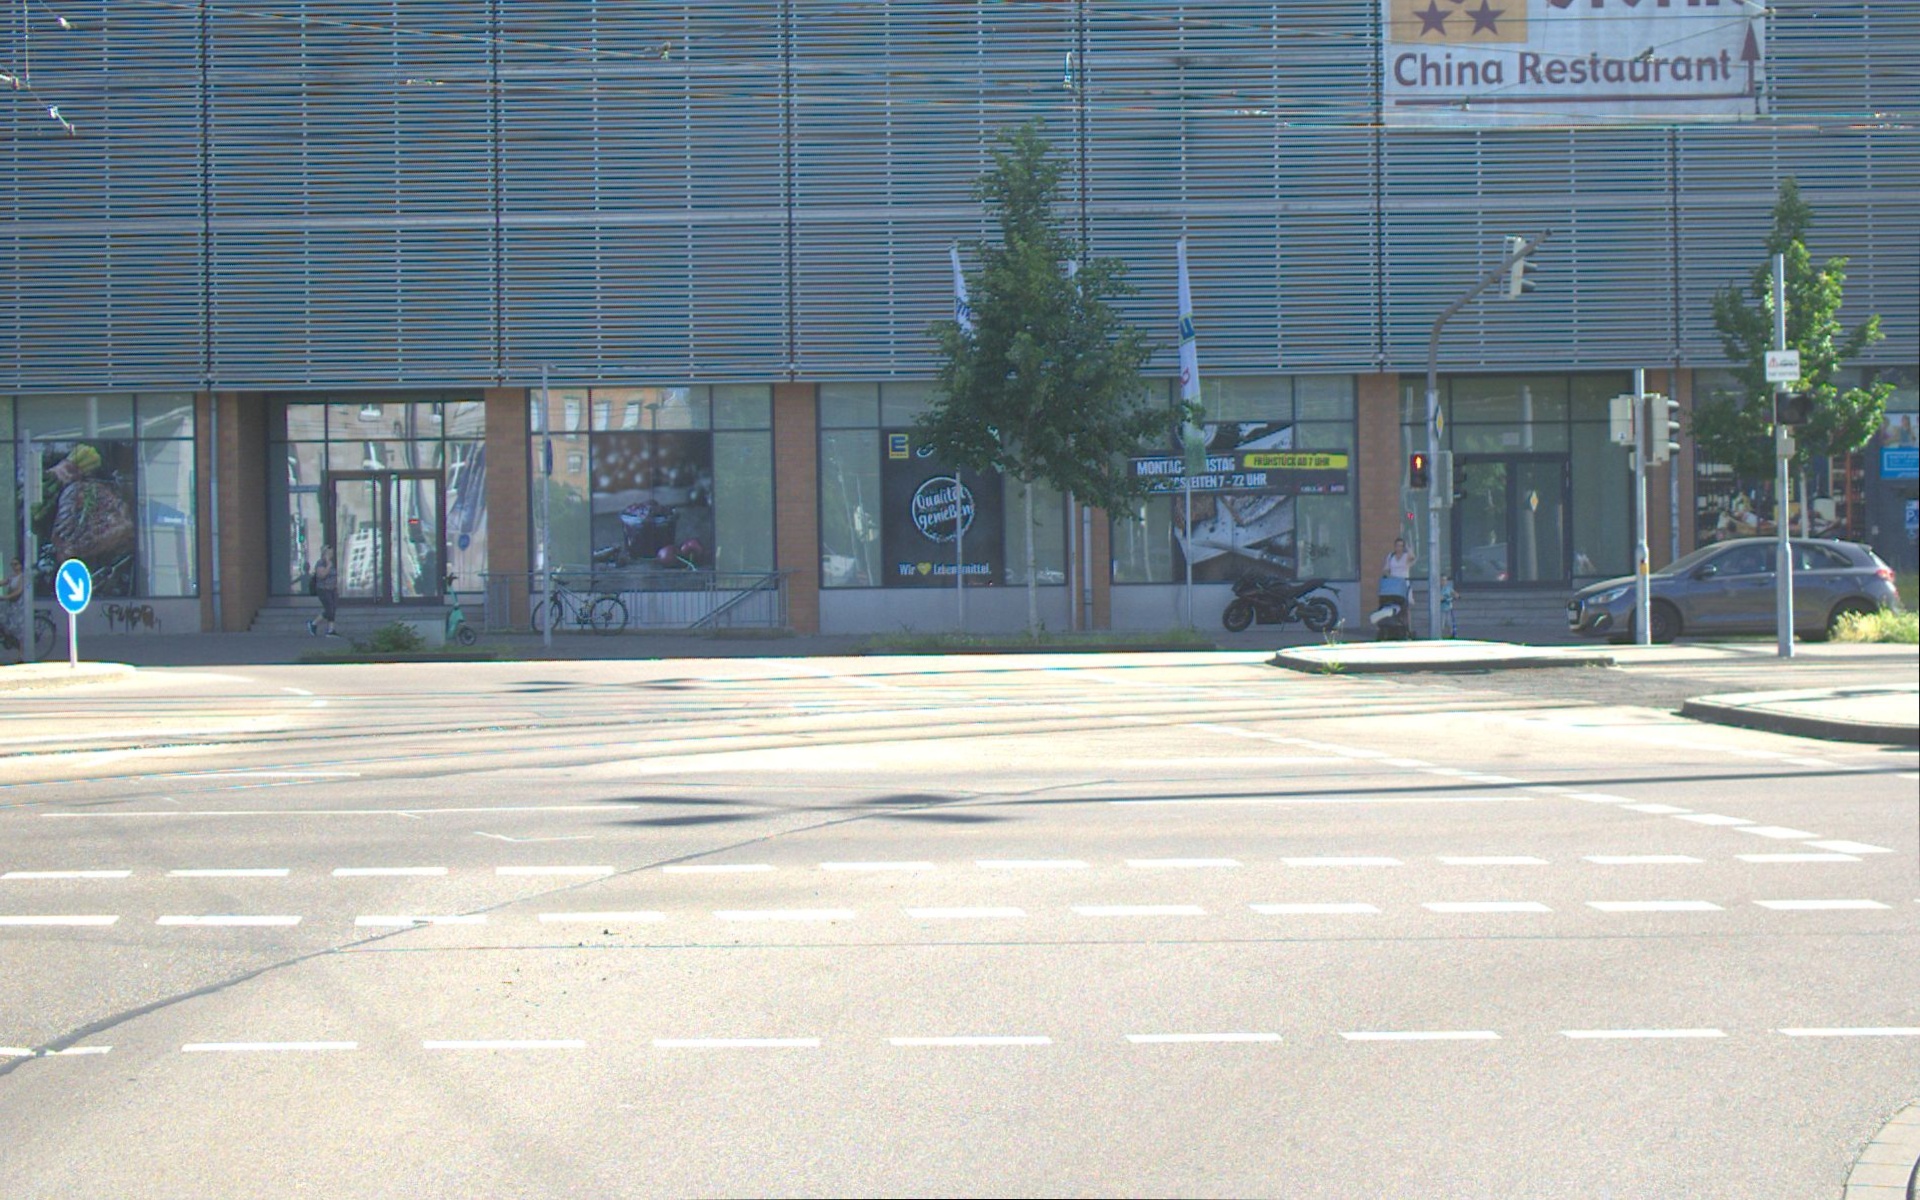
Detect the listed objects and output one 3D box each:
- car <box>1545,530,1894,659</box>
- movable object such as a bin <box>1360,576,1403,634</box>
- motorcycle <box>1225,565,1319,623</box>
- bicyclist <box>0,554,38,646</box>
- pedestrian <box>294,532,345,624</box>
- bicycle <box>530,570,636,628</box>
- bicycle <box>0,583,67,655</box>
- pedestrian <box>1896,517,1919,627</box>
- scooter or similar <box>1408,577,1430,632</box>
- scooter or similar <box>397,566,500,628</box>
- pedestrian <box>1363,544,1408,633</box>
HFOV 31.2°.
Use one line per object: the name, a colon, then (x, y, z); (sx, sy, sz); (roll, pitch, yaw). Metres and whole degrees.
car: (10.063, -0.077, 45.762); (4.146, 1.464, 1.841); (3, 0, -1)
movable object such as a bin: (6.723, 0.075, 54.820); (0.613, 0.901, 0.968); (1, 0, 10)
motorcycle: (5.505, -0.106, 60.648); (1.640, 1.001, 0.446); (1, 1, 6)
bicyclist: (-15.269, -0.001, 54.795); (0.675, 1.422, 0.847); (1, 3, 43)
pedestrian: (-11.251, -0.391, 60.432); (0.661, 1.595, 0.594); (1, 0, 18)
bicycle: (-6.638, -0.020, 60.556); (1.815, 0.986, 0.558); (-1, 2, -10)
bicycle: (-15.235, 0.308, 54.875); (0.568, 1.082, 1.859); (1, 3, 43)
pedestrian: (16.509, -0.481, 58.468); (0.950, 1.822, 0.845); (-2, -3, 5)
scooter or similar: (7.361, 0.071, 55.103); (0.295, 0.870, 1.003); (1, 0, 10)
scooter or similar: (-9.068, -0.049, 60.939); (1.792, 1.062, 0.613); (0, 2, -8)
pedestrian: (6.841, -0.181, 55.281); (0.655, 1.409, 0.849); (1, 0, 10)
